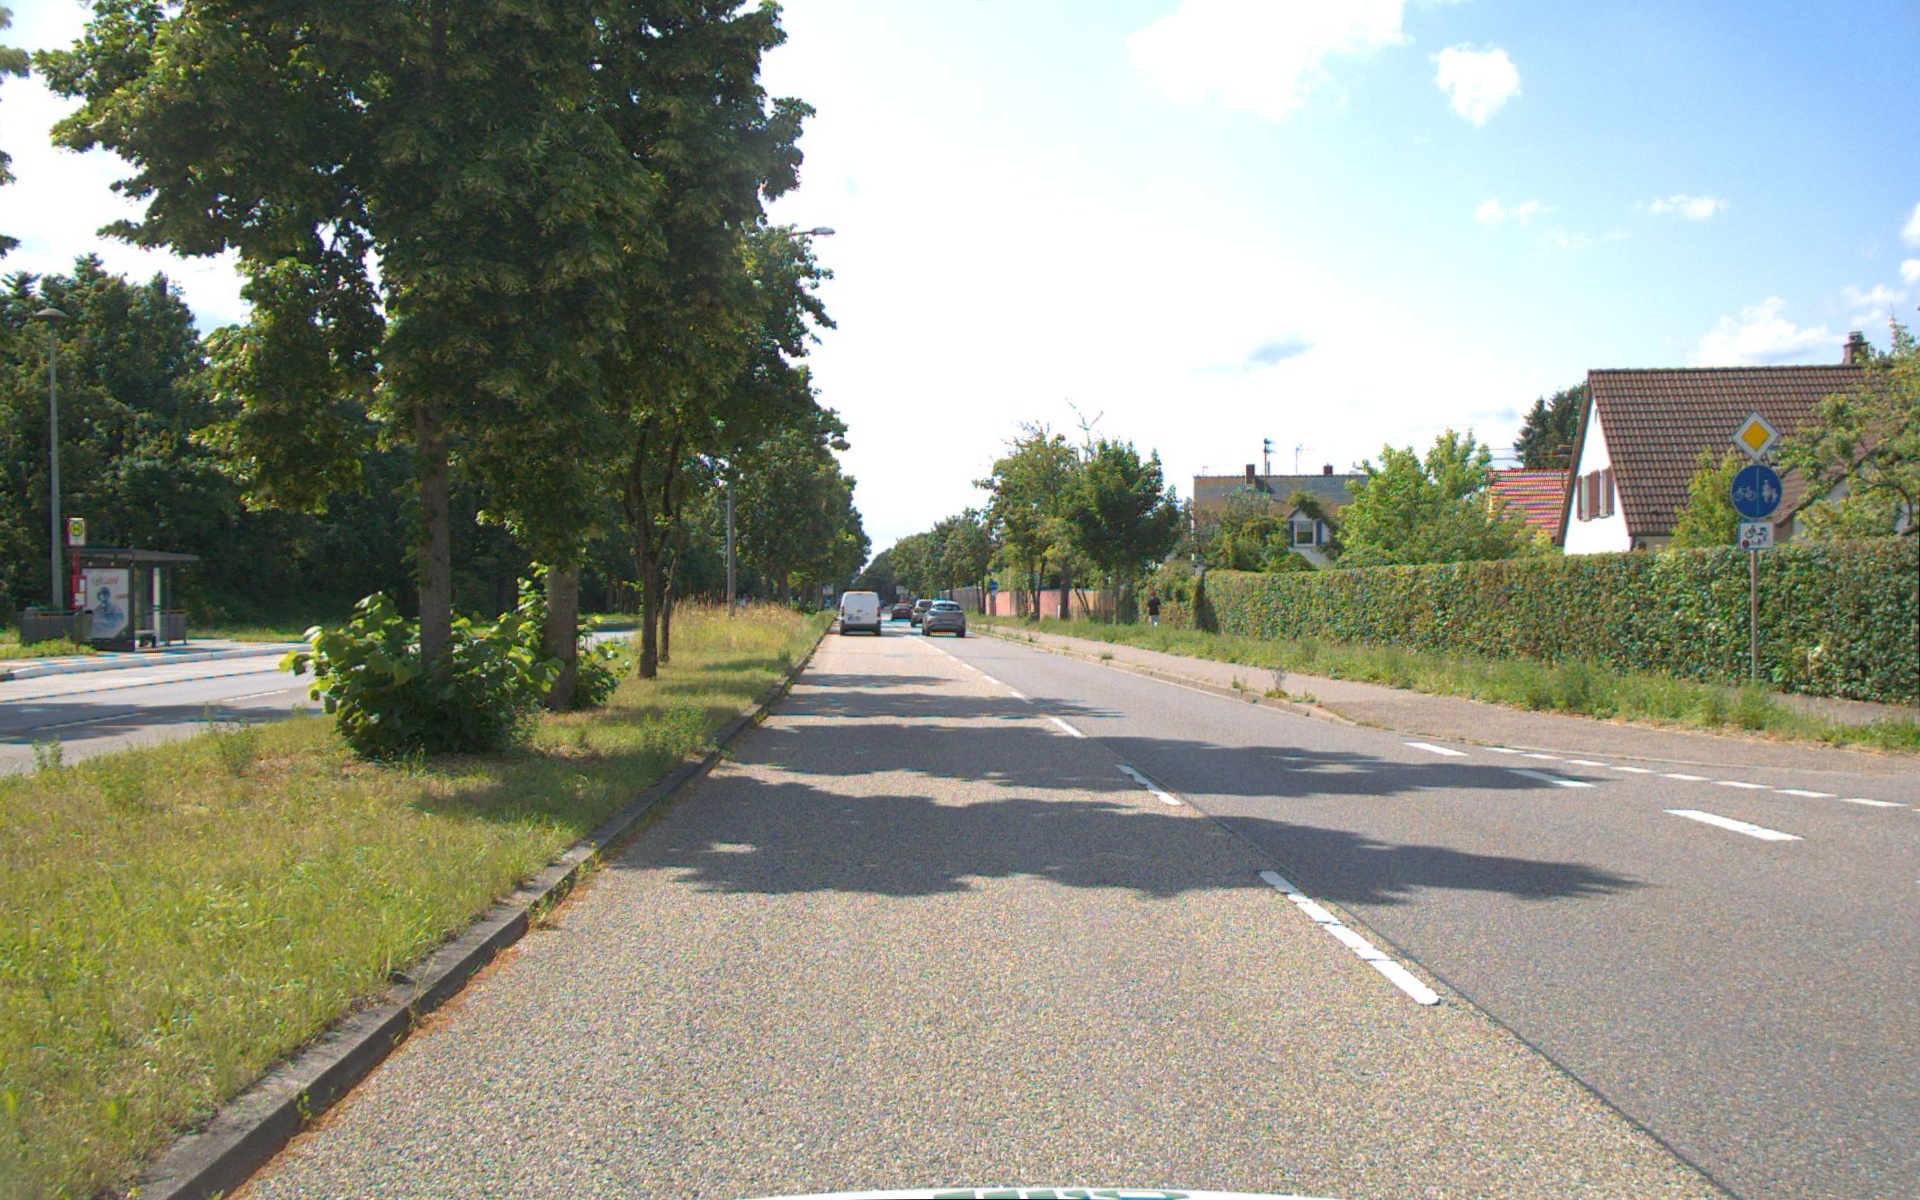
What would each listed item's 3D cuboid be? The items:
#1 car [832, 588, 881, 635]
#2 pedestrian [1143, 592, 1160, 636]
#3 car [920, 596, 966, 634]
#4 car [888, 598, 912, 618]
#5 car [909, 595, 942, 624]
[{"bbox_3d":[-4.437,0.483,71.066,2.025,1.945,4.642,0,0,-4],"label":"car"},{"bbox_3d":[7.493,0.549,64.828,0.549,1.706,0.633,0,0,-4],"label":"pedestrian"},{"bbox_3d":[-0.777,0.630,72.736,1.838,1.617,4.181,0,0,-4],"label":"car"},{"bbox_3d":[-4.959,0.686,136.669,1.843,1.615,3.997,0,0,-4],"label":"car"},{"bbox_3d":[-2.073,0.547,98.528,1.838,1.681,3.997,0,0,-4],"label":"car"}]
